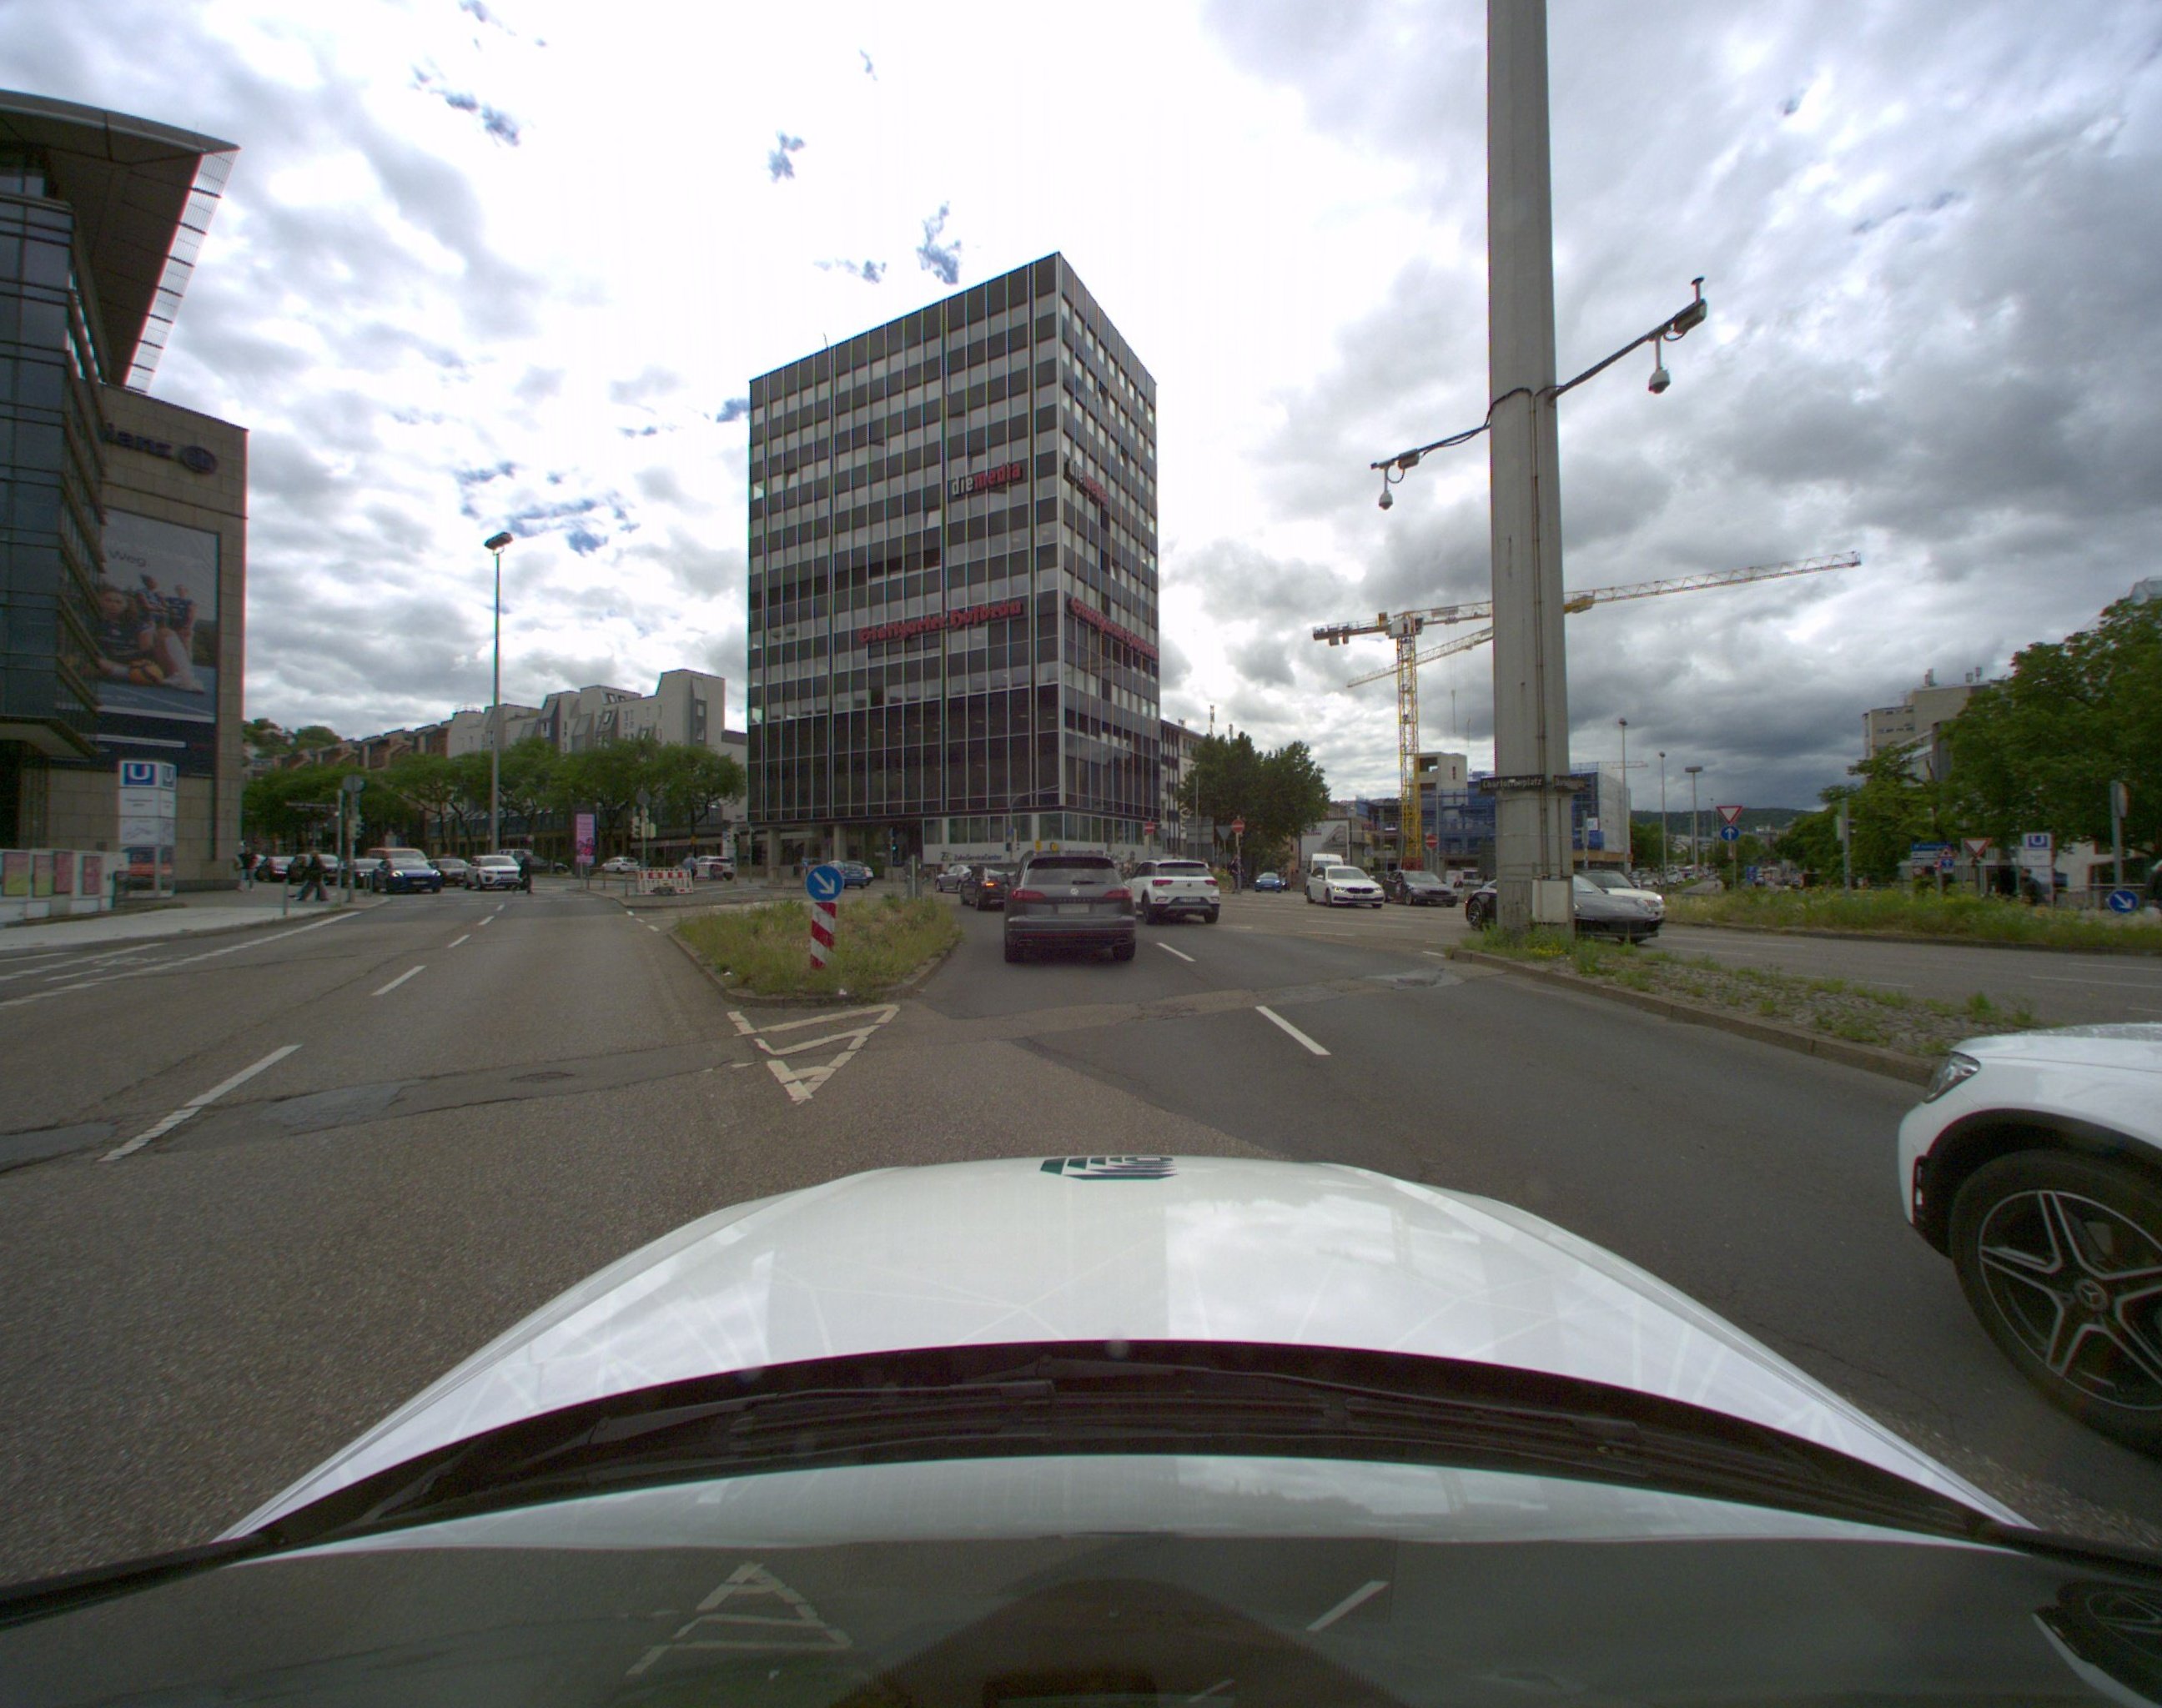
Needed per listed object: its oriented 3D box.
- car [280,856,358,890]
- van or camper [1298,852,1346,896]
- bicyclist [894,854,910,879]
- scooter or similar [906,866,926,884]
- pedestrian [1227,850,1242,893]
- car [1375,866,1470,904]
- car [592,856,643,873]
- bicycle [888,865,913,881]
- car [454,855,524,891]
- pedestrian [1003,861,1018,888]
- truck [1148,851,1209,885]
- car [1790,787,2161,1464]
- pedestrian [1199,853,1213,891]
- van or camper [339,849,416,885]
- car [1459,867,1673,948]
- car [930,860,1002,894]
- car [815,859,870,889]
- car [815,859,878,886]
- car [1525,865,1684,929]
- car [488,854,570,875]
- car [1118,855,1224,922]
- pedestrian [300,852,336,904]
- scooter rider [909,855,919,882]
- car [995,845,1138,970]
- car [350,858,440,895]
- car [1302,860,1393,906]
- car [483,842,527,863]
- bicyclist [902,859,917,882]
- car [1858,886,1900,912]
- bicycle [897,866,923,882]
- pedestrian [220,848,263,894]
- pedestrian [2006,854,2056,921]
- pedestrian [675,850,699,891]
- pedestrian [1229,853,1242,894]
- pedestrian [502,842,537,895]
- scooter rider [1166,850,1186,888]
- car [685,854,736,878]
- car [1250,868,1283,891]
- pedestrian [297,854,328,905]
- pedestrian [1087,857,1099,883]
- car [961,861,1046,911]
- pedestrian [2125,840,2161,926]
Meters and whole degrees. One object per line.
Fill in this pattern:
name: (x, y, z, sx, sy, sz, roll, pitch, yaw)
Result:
car: (-41.197, 0.967, 44.013, 4.623, 1.645, 2.013, 1, 1, 33)
van or camper: (14.619, 1.202, 49.718, 2.127, 2.477, 6.178, 1, -1, 10)
bicyclist: (-13.049, 0.913, 59.286, 0.804, 1.846, 0.679, 1, -2, 28)
scooter or similar: (-11.146, 1.413, 55.020, 1.318, 1.176, 0.591, -1, 0, -8)
pedestrian: (7.088, 0.803, 37.704, 0.636, 1.955, 0.613, 0, -1, 13)
car: (13.254, 1.182, 31.921, 1.749, 1.333, 4.409, 2, -1, -2)
car: (-39.903, 0.860, 70.094, 4.278, 1.418, 2.076, 0, 0, 33)
bicycle: (-13.140, 1.380, 59.265, 1.745, 1.007, 0.685, 2, 2, 28)
car: (-27.899, 0.852, 38.345, 4.264, 1.598, 1.751, 0, -1, 41)
pedestrian: (-4.497, 1.283, 51.704, 0.791, 1.698, 0.551, 0, 0, 32)
truck: (9.337, 1.350, 76.915, 2.315, 3.064, 8.250, 0, -2, 33)
car: (3.511, 0.661, 0.858, 1.796, 1.646, 4.334, 0, 0, 0)
pedestrian: (5.990, 0.867, 39.016, 0.637, 1.797, 0.612, 1, -1, 10)
van or camper: (-39.430, 0.701, 45.634, 5.018, 1.921, 1.931, 0, 1, 33)
car: (9.128, 0.930, 15.769, 1.666, 1.264, 4.055, 0, 0, -2)
car: (-5.647, 1.099, 39.701, 1.846, 1.432, 4.105, 2, -1, -33)
car: (-12.933, 1.040, 43.982, 1.845, 1.517, 3.727, 0, 0, -34)
car: (-14.322, 1.093, 49.650, 3.718, 1.517, 1.850, 0, 0, 37)
car: (13.340, 1.034, 21.009, 1.719, 1.418, 3.646, 1, 0, -1)
car: (-40.041, 0.795, 59.130, 1.857, 1.458, 4.593, 0, -1, 41)
car: (2.178, 0.855, 20.812, 1.796, 1.546, 3.924, 0, -2, -8)
pedestrian: (-25.294, 0.787, 27.000, 0.624, 1.701, 0.774, 0, -1, 38)
scooter rider: (-11.275, 1.006, 55.002, 0.641, 1.809, 0.591, -1, -1, -8)
car: (-0.285, 0.715, 13.253, 1.965, 1.695, 4.220, 0, 0, -3)
car: (-30.240, 0.959, 35.867, 4.038, 1.525, 2.013, 0, -1, 35)
car: (9.616, 1.023, 29.842, 1.985, 1.504, 5.044, 1, -1, 3)
car: (-52.553, -0.130, 74.292, 4.807, 1.874, 1.850, 0, 0, 36)
bicyclist: (-11.828, 1.133, 56.184, 0.839, 1.549, 0.566, -1, 0, 4)
car: (53.311, 3.015, 54.439, 1.856, 1.602, 4.023, 0, -2, 42)
bicycle: (-11.803, 1.385, 56.180, 1.656, 1.027, 0.582, -1, 0, 4)
pedestrian: (-34.126, 0.680, 33.116, 0.690, 1.810, 0.935, -1, 1, 9)
pedestrian: (25.677, 0.890, 22.029, 0.743, 1.789, 0.833, 0, -1, 41)
pedestrian: (-17.705, 0.740, 36.575, 0.626, 1.790, 0.722, 1, 3, 33)
pedestrian: (7.395, 0.934, 38.996, 0.637, 1.910, 0.612, 0, -1, 10)
pedestrian: (-23.384, 0.617, 33.907, 0.755, 2.172, 0.882, 0, -1, 15)
scooter rider: (4.248, 0.658, 36.475, 0.738, 1.694, 0.770, 0, -1, 18)
car: (-25.350, 0.799, 55.695, 3.719, 1.567, 1.849, 0, 0, 41)
car: (13.638, 1.850, 60.140, 1.932, 1.483, 4.637, 2, -1, 7)
pedestrian: (-25.951, 0.848, 27.492, 0.624, 1.701, 0.648, 0, -1, 38)
pedestrian: (0.822, 1.115, 55.754, 0.630, 1.748, 0.593, 0, -1, 17)
car: (-2.556, 0.967, 25.832, 1.838, 1.395, 4.123, 2, -1, -17)
pedestrian: (24.031, 0.634, 18.239, 0.551, 1.895, 0.642, 0, 0, 22)
